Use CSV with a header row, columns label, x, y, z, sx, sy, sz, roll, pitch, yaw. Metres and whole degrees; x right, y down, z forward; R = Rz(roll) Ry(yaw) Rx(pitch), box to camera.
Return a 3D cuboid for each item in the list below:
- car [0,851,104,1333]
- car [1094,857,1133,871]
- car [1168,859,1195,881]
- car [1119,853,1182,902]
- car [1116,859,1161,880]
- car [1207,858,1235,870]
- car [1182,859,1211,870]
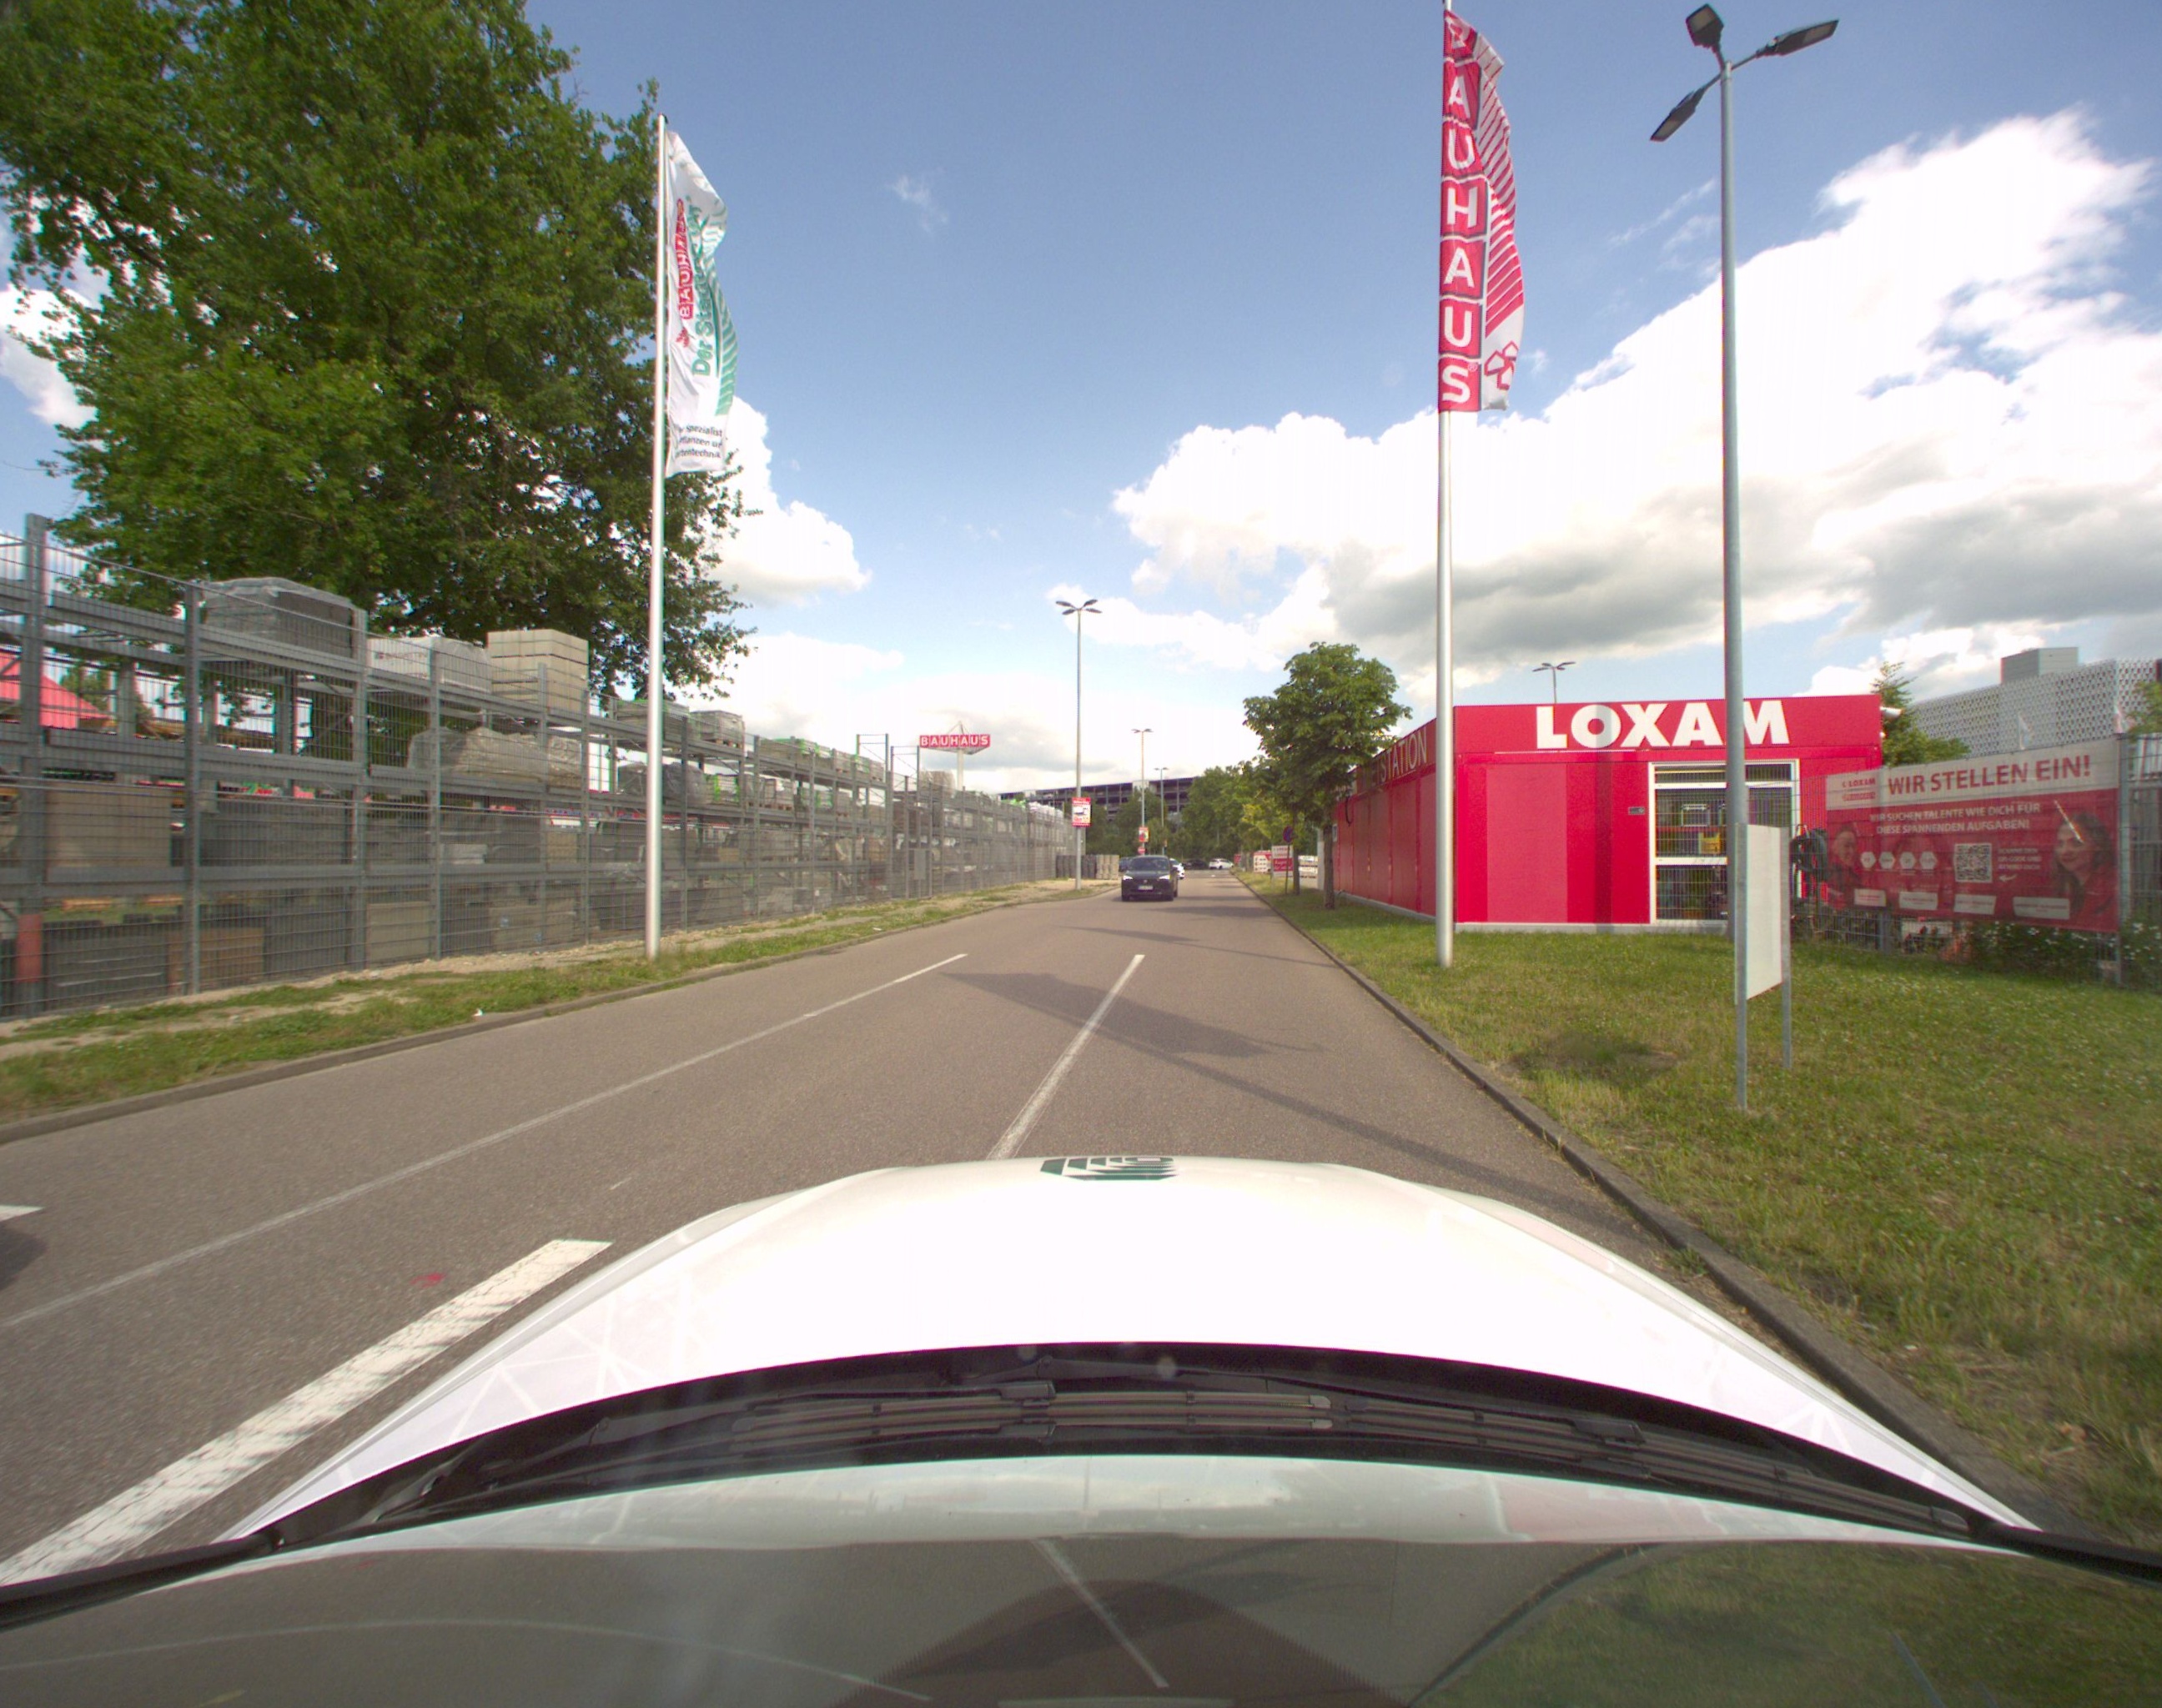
label,x,y,z,sx,sy,sz,roll,pitch,yaw
car,-4.777,0.775,1.010,1.705,1.564,4.224,0,0,13
car,3.337,1.018,82.512,3.728,1.368,1.625,0,0,9
car,7.019,1.126,57.264,1.795,1.464,4.336,0,0,6
car,2.678,0.821,30.451,1.903,1.618,4.386,-1,0,10
car,4.202,1.130,59.330,2.857,1.515,1.543,-1,0,29
car,18.098,1.276,105.067,3.577,1.411,1.650,0,-1,-42
car,15.436,1.405,108.408,1.712,1.410,4.268,-1,-1,43
